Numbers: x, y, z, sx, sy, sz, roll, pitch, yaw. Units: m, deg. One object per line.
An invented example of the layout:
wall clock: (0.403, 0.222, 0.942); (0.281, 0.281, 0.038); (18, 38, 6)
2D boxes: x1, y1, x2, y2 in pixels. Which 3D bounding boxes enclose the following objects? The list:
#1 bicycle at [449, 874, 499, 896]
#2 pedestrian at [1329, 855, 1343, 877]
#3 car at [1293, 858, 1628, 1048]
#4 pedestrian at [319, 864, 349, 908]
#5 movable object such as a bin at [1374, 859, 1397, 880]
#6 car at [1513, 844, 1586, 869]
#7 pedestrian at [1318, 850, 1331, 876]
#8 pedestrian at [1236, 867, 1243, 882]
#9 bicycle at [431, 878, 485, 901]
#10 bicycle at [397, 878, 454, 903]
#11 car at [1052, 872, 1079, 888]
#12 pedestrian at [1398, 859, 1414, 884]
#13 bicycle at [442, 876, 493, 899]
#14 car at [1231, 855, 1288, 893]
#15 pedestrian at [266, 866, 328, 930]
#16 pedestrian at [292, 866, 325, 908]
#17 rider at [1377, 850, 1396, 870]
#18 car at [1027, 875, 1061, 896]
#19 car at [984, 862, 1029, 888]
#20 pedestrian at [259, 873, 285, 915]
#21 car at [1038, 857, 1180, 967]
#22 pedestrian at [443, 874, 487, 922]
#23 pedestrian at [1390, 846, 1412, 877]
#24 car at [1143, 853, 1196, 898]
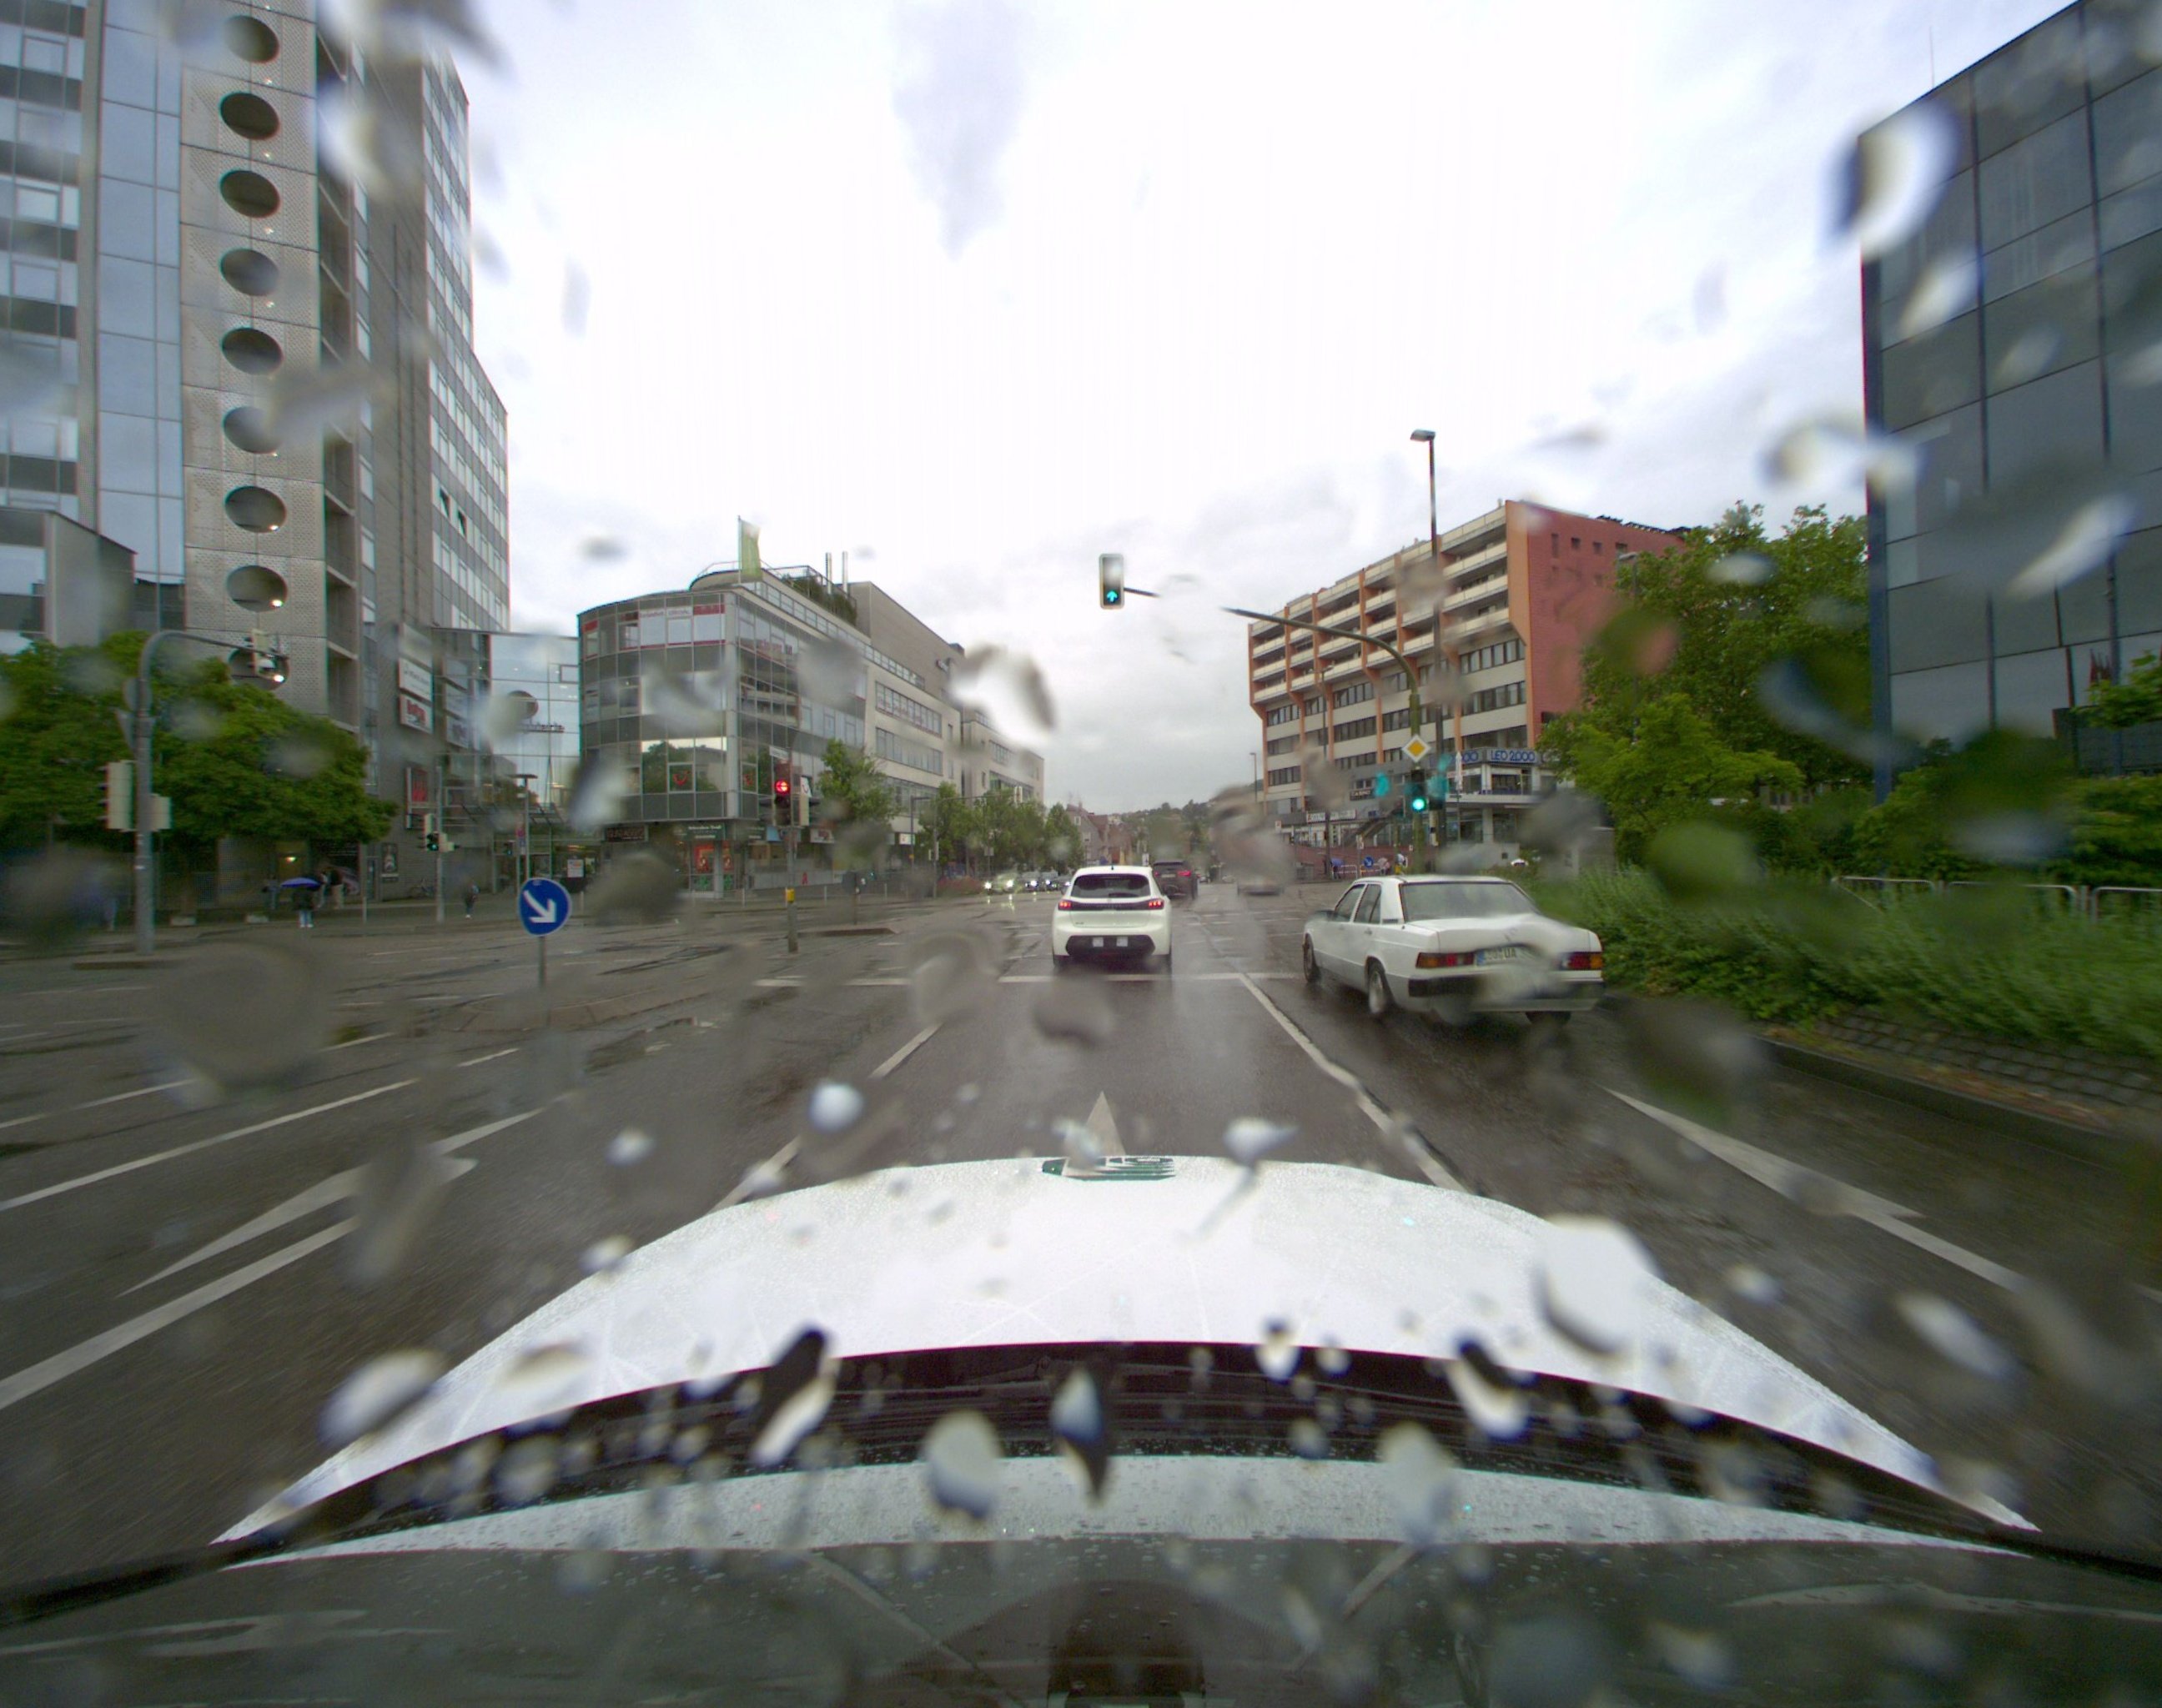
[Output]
bicycle: (-36.872, 1.856, 49.500); (2.283, 1.247, 0.671); (-1, -1, -24)
pedestrian: (15.756, 0.744, 50.343); (0.703, 1.346, 0.658); (-2, -2, 12)
car: (3.471, 0.805, 8.411); (1.627, 1.448, 4.271); (0, -1, 2)
pedestrian: (-34.253, 1.451, 37.341); (0.711, 2.014, 0.763); (-1, -1, -8)
movable object such as a bin: (20.820, 1.070, 55.680); (1.123, 1.332, 1.457); (-1, -4, 8)
car: (30.137, 0.169, 52.387); (4.803, 1.406, 1.795); (-2, -2, -29)
pedestrian: (14.863, 0.556, 49.656); (0.703, 1.607, 0.658); (-1, -1, 13)
pedestrian: (20.123, 2.603, 103.430); (0.643, 1.823, 0.578); (-2, -2, -24)
bicycle: (-35.058, 1.981, 45.852); (2.283, 1.247, 0.671); (0, -1, -23)
bicycle: (-35.836, 1.991, 44.564); (2.283, 1.247, 0.671); (-1, -1, -24)
car: (-1.374, 2.379, 75.690); (1.716, 1.388, 4.610); (-3, -2, 8)
pedestrian: (21.700, 1.180, 54.406); (0.788, 1.668, 0.934); (-2, -1, 14)
bicycle: (-35.933, 1.962, 47.741); (2.283, 1.247, 0.671); (-1, -1, -24)
car: (7.024, 0.769, 32.323); (1.901, 1.400, 3.464); (-1, -1, 7)
pedestrian: (-25.867, 1.408, 26.902); (1.169, 2.014, 1.316); (-1, -1, -29)
pedestrian: (-35.407, 1.504, 37.336); (0.824, 1.868, 0.757); (-2, -1, 19)
rider: (20.885, 0.426, 55.665); (0.917, 1.284, 1.093); (-4, 0, 8)
car: (-3.093, 2.636, 69.093); (1.763, 1.594, 4.600); (-6, -2, 9)
car: (-4.909, 1.365, 54.221); (1.909, 1.632, 4.913); (-1, 0, 8)
pedestrian: (-36.630, 1.796, 36.874); (0.823, 1.868, 0.758); (-2, -1, 41)
car: (0.596, 0.790, 12.870); (1.861, 1.462, 3.881); (-1, 0, 7)
pedestrian: (-24.097, 1.695, 31.871); (0.840, 1.819, 1.027); (-2, -1, 10)
pedestrian: (17.839, 0.426, 45.371); (0.824, 1.691, 1.131); (-2, -1, 6)
car: (3.408, 0.775, 30.904); (1.805, 1.530, 3.821); (-3, 0, 8)
